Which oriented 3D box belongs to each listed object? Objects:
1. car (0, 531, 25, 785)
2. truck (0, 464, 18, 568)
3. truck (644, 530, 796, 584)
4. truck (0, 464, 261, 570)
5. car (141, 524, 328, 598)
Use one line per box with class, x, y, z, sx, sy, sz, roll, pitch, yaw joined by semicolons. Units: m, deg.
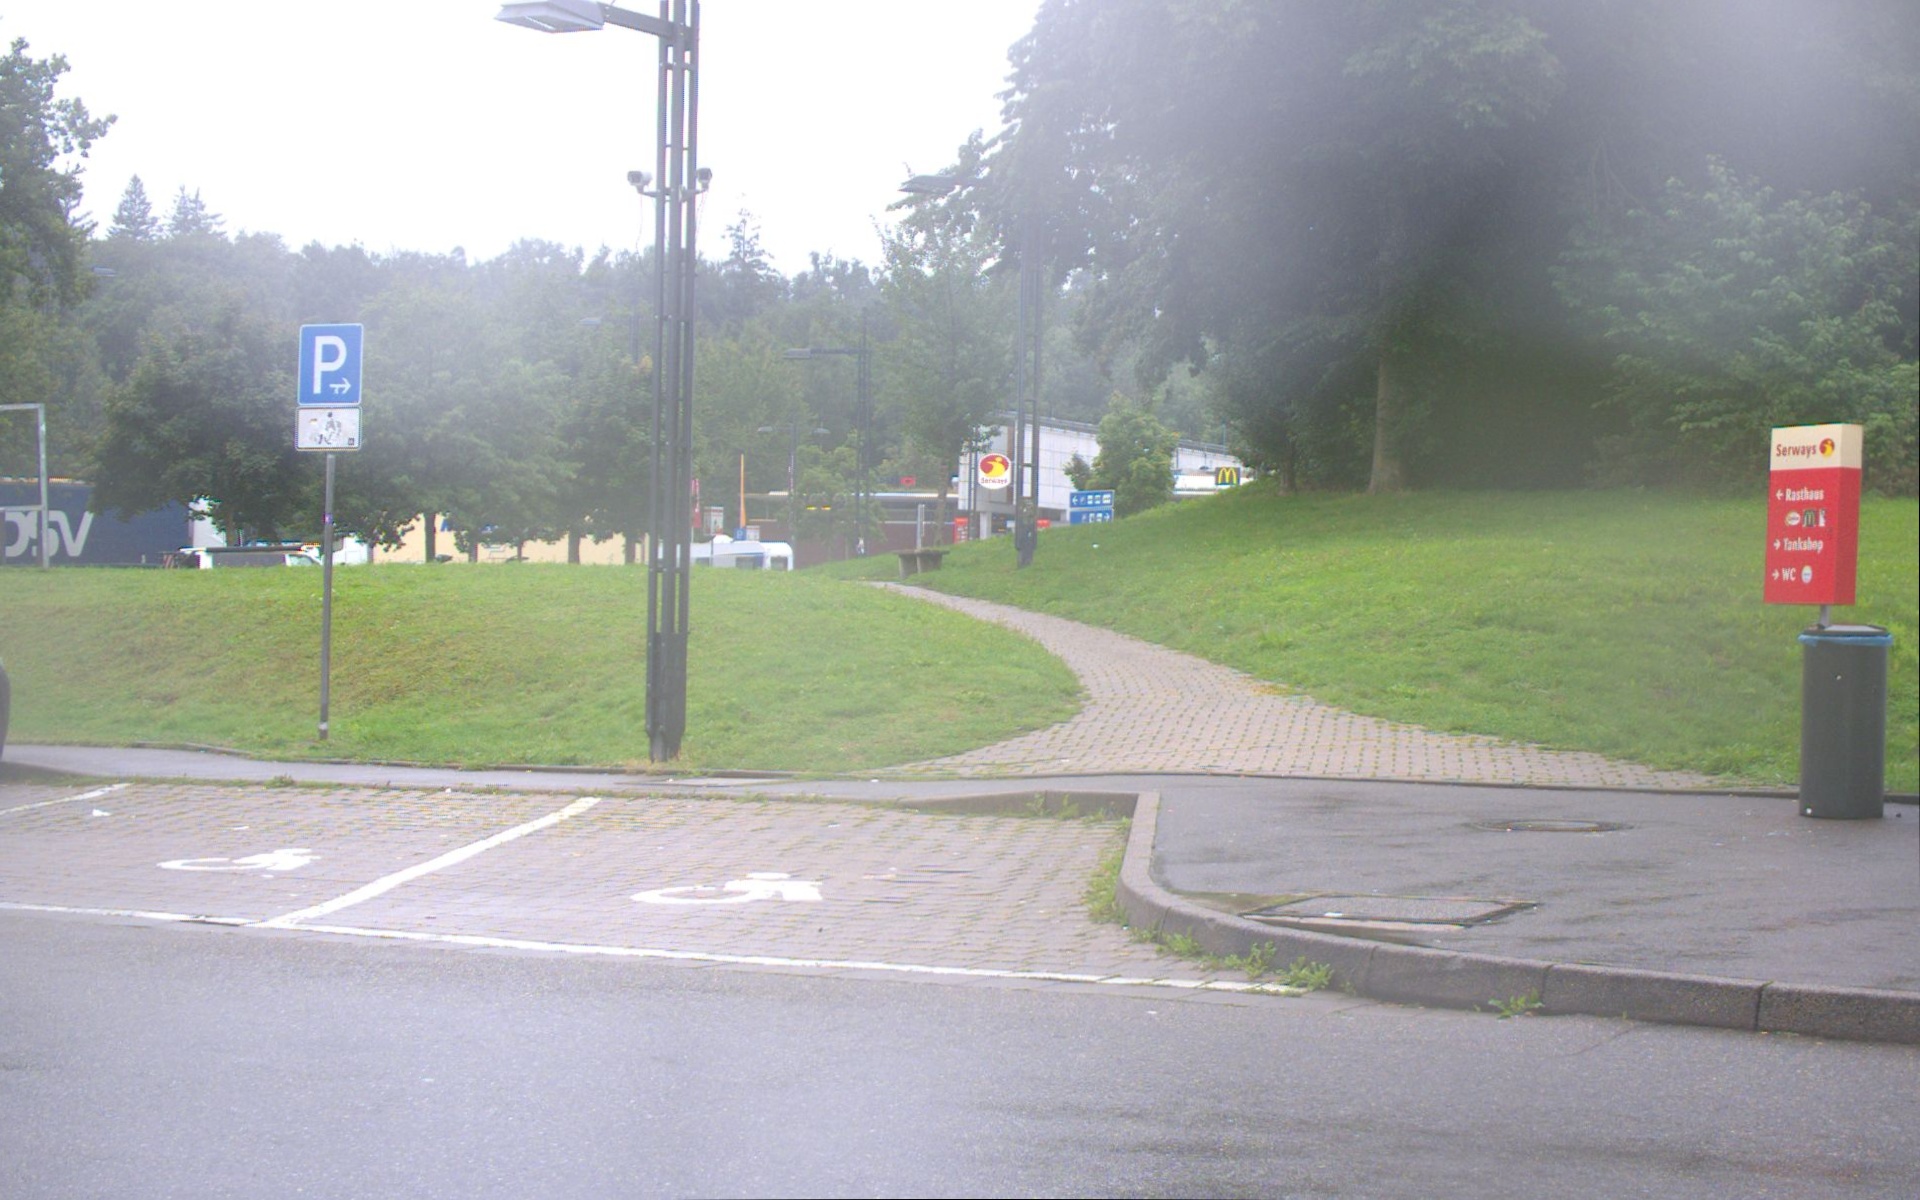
car;-7.807;0.452;21.485;2.018;1.705;4.341;-1;1;12
truck;-28.614;-2.351;94.650;2.189;2.910;5.380;1;1;24
truck;-9.341;-1.673;133.799;5.413;2.007;2.364;1;1;25
truck;-25.476;-2.376;101.620;2.188;2.910;13.082;1;1;24
car;-18.027;-0.963;85.467;4.124;1.777;1.844;0;1;-36
